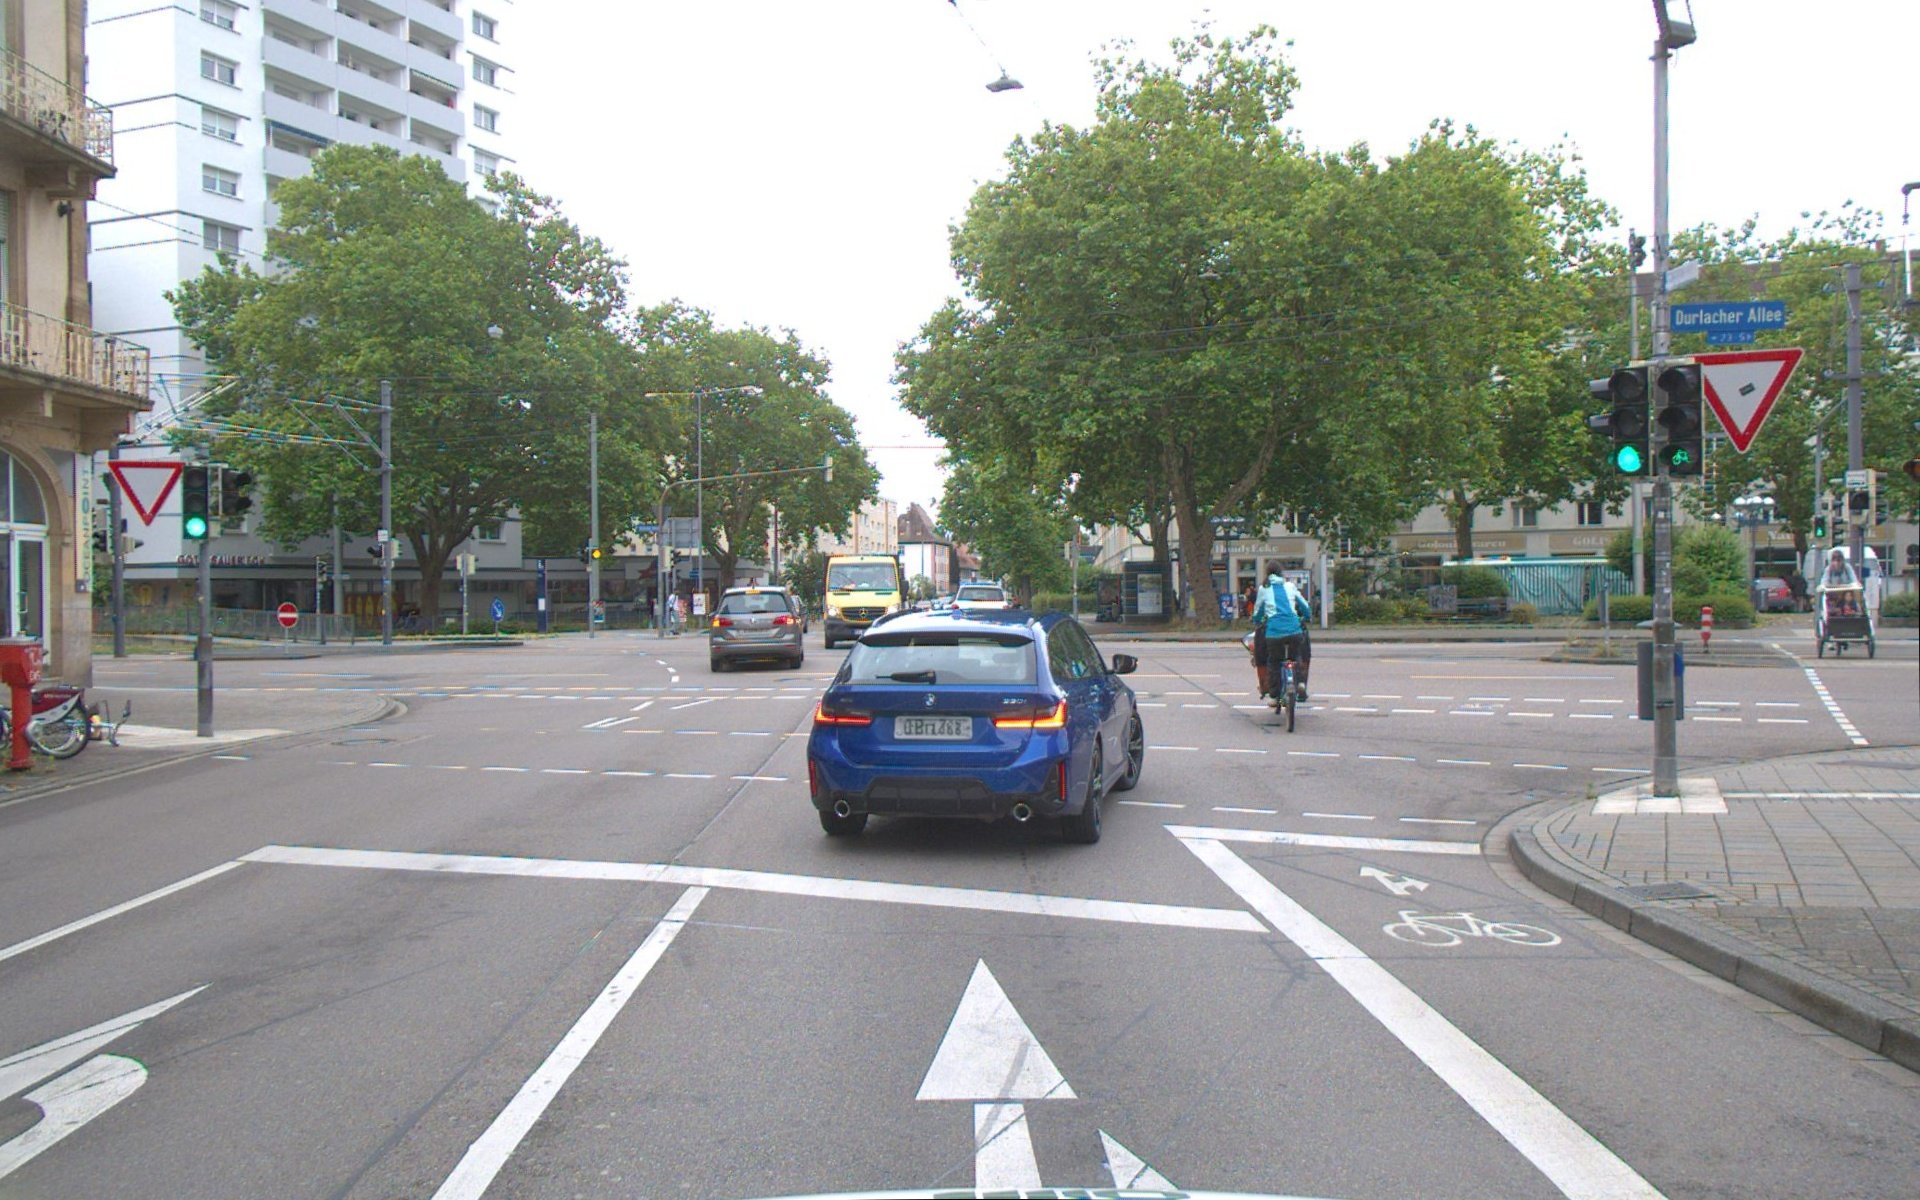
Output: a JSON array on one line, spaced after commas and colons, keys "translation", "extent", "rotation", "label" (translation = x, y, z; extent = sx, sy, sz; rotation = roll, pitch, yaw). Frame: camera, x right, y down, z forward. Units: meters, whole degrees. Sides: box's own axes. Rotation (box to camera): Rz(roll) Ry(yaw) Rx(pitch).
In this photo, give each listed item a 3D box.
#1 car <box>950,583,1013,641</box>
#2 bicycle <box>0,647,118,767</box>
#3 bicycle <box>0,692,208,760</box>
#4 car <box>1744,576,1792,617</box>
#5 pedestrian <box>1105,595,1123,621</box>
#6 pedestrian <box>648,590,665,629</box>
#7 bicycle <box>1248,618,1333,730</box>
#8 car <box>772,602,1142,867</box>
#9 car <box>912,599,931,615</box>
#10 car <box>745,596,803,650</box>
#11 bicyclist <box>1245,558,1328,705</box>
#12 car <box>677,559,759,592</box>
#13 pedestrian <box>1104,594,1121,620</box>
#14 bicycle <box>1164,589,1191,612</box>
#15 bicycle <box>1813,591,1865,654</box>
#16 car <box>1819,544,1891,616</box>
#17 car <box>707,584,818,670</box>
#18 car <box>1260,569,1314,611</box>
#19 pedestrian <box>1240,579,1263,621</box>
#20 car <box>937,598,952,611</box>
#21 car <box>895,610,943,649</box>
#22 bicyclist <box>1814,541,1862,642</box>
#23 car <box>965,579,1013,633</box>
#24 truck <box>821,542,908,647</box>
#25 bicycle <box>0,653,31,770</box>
[{"translation": [0.616, 0.335, 49.372], "extent": [1.778, 1.620, 4.000], "rotation": [-1, 0, 0], "label": "car"}, {"translation": [-9.312, 1.011, 16.158], "extent": [1.849, 1.053, 0.442], "rotation": [5, 0, -3], "label": "bicycle"}, {"translation": [-8.991, 1.303, 17.200], "extent": [1.849, 0.453, 1.028], "rotation": [5, 2, -2], "label": "bicycle"}, {"translation": [31.865, -0.158, 65.276], "extent": [1.632, 1.542, 3.935], "rotation": [-1, 0, 26], "label": "car"}, {"translation": [8.050, 0.416, 86.631], "extent": [0.835, 1.337, 0.762], "rotation": [-1, 0, 0], "label": "pedestrian"}, {"translation": [-14.311, 0.449, 77.991], "extent": [0.562, 1.816, 0.620], "rotation": [-1, 0, 8], "label": "pedestrian"}, {"translation": [3.622, 0.785, 18.281], "extent": [0.484, 1.117, 2.138], "rotation": [-1, 0, 0], "label": "bicycle"}, {"translation": [0.198, 0.772, 11.520], "extent": [1.776, 1.430, 4.324], "rotation": [-1, 0, 11], "label": "car"}, {"translation": [-3.718, 0.690, 160.172], "extent": [1.815, 1.478, 4.167], "rotation": [-1, 0, 0], "label": "car"}, {"translation": [-7.500, 0.912, 66.955], "extent": [1.881, 2.049, 3.936], "rotation": [-1, 0, 0], "label": "car"}, {"translation": [3.568, 0.332, 18.138], "extent": [0.672, 1.544, 1.058], "rotation": [-1, 0, 0], "label": "bicyclist"}, {"translation": [-13.043, -1.325, 89.133], "extent": [3.943, 1.736, 1.981], "rotation": [0, 0, -29], "label": "car"}, {"translation": [8.098, 0.374, 87.611], "extent": [0.801, 1.396, 0.762], "rotation": [-1, 0, 0], "label": "pedestrian"}, {"translation": [11.639, 0.039, 88.427], "extent": [0.762, 1.188, 2.331], "rotation": [-1, 0, 25], "label": "bicycle"}, {"translation": [14.953, 0.364, 28.177], "extent": [0.540, 1.013, 2.061], "rotation": [-1, 0, 22], "label": "bicycle"}, {"translation": [35.258, -0.784, 65.259], "extent": [2.191, 2.685, 5.443], "rotation": [-1, 0, 26], "label": "car"}, {"translation": [-3.824, 0.489, 32.561], "extent": [1.697, 1.551, 4.000], "rotation": [-1, 0, 0], "label": "car"}, {"translation": [18.141, -0.575, 91.651], "extent": [2.130, 2.239, 3.998], "rotation": [-1, 0, 24], "label": "car"}, {"translation": [12.540, -0.018, 71.175], "extent": [0.768, 1.774, 0.925], "rotation": [-1, 0, -2], "label": "pedestrian"}, {"translation": [-1.878, 0.525, 198.944], "extent": [1.731, 1.512, 4.000], "rotation": [-1, 0, 0], "label": "car"}, {"translation": [-1.610, 1.148, 66.664], "extent": [1.771, 1.452, 4.317], "rotation": [-1, 0, 0], "label": "car"}, {"translation": [14.925, -0.149, 28.134], "extent": [0.601, 1.683, 0.754], "rotation": [-1, 0, 21], "label": "bicyclist"}, {"translation": [1.135, 0.216, 65.710], "extent": [1.778, 2.040, 4.000], "rotation": [-1, 0, 0], "label": "car"}, {"translation": [-2.496, -0.151, 42.582], "extent": [2.034, 2.450, 5.458], "rotation": [-2, 0, -4], "label": "truck"}, {"translation": [-9.861, 0.985, 15.608], "extent": [1.849, 1.053, 0.442], "rotation": [5, 0, -3], "label": "bicycle"}]
